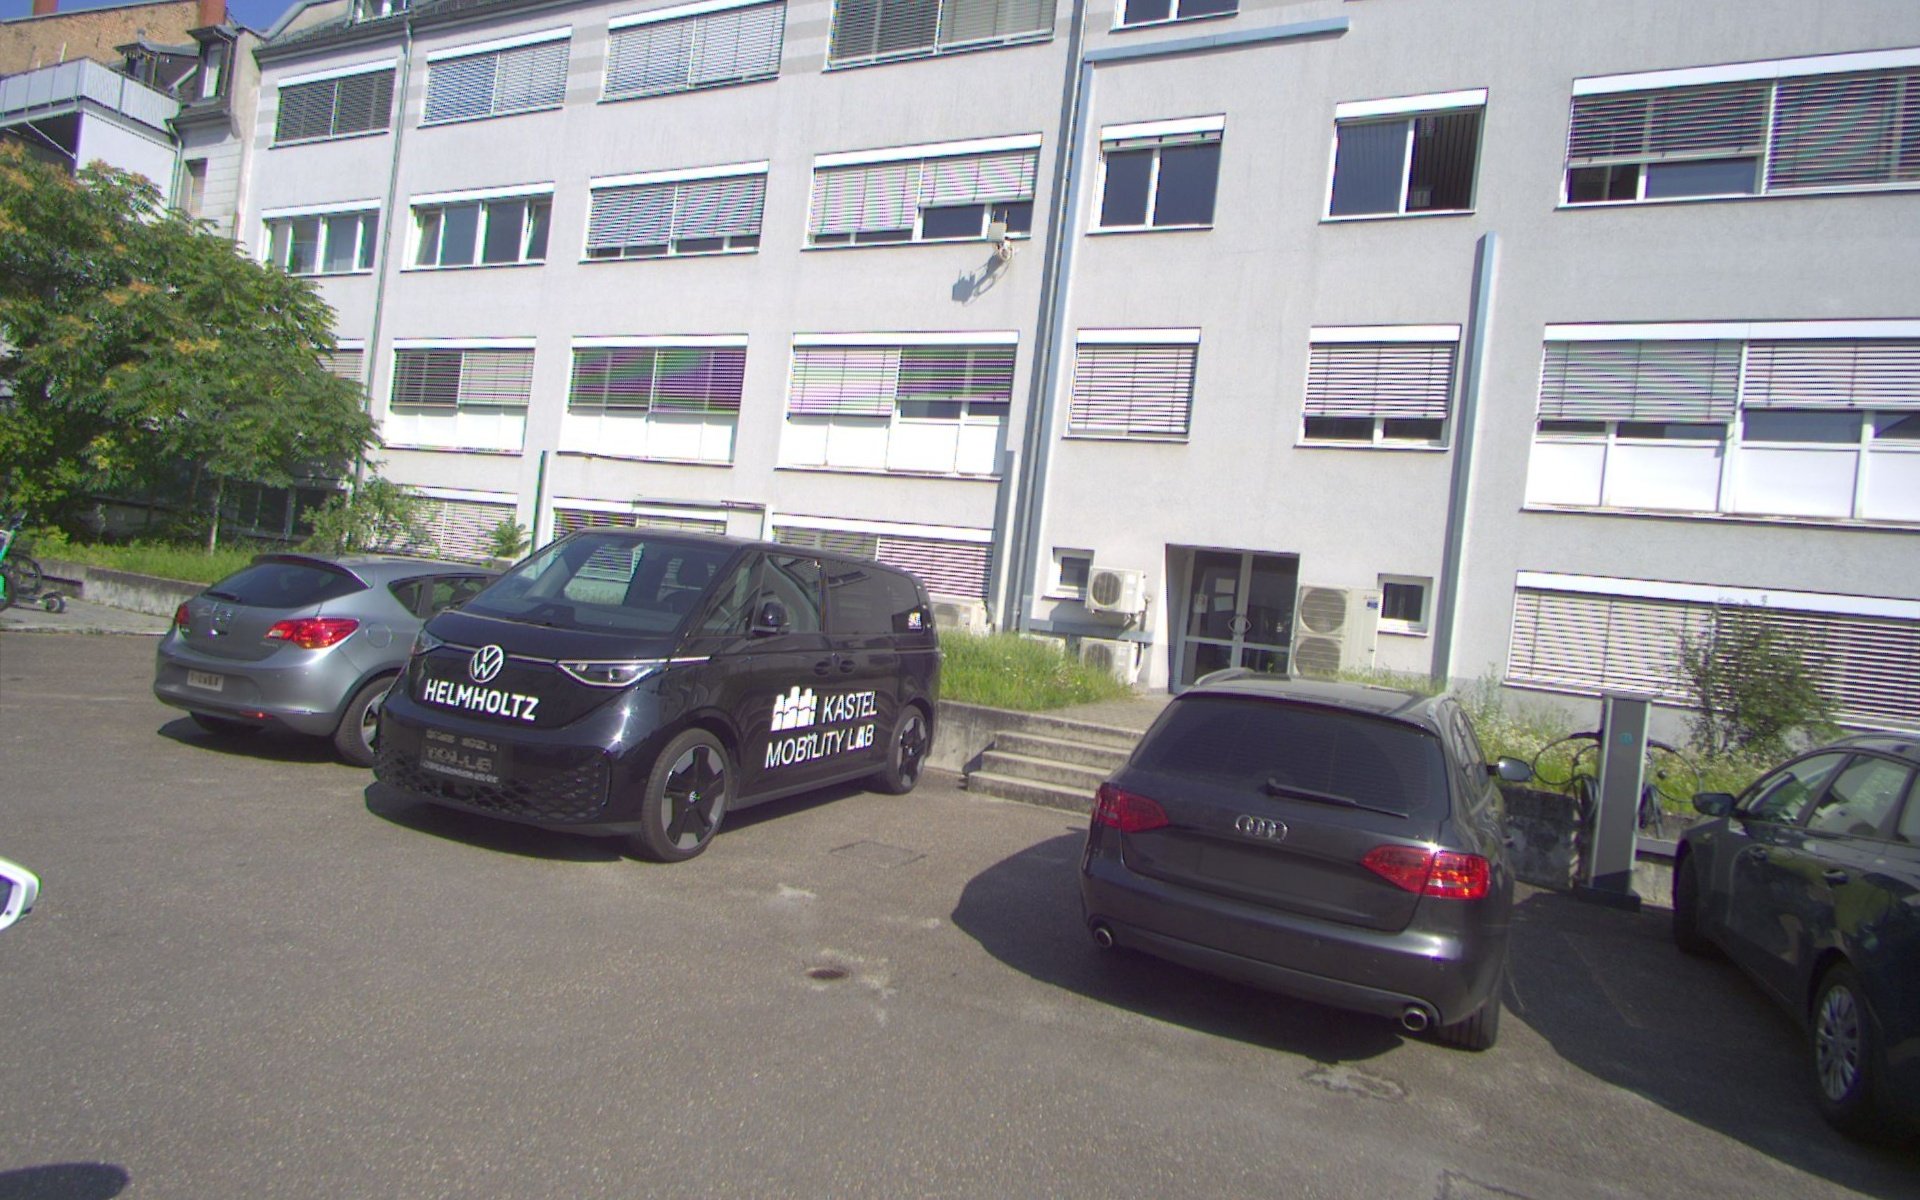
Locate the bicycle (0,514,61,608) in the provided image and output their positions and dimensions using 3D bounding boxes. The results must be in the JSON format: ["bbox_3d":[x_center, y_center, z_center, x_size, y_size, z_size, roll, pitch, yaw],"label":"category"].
[{"bbox_3d":[-14.027,-0.657,13.780,0.517,1.261,2.416,7,-2,30],"label":"bicycle"}]

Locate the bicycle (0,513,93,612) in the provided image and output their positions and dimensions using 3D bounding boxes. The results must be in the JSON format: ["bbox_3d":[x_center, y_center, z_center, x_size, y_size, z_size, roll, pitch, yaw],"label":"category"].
[{"bbox_3d":[-13.390,-0.592,13.582,0.517,1.261,2.416,7,-2,30],"label":"bicycle"}]

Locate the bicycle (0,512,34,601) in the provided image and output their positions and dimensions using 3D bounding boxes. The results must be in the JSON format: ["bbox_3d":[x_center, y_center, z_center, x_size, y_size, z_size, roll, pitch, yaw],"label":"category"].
[{"bbox_3d":[-14.735,-0.758,14.111,0.517,1.261,2.416,7,-2,30],"label":"bicycle"}]

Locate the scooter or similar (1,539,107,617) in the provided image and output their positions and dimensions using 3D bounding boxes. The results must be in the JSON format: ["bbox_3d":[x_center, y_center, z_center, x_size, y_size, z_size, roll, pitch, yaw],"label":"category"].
[{"bbox_3d":[-12.547,-0.297,13.945,0.982,0.935,0.360,7,-1,-7],"label":"scooter or similar"}]

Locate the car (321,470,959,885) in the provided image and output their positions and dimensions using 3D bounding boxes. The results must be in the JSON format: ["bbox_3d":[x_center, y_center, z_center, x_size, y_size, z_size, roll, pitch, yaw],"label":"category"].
[{"bbox_3d":[-1.752,0.457,7.183,1.879,1.881,4.349,7,-1,21],"label":"car"}]

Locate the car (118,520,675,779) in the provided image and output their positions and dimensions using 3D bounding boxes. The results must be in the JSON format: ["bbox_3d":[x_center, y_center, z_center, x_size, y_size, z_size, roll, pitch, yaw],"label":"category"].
[{"bbox_3d":[-4.271,0.395,8.425,1.631,1.483,3.911,7,-1,17],"label":"car"}]

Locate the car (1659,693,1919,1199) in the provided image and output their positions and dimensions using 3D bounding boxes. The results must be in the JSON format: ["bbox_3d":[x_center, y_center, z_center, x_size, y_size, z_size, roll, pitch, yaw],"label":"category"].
[{"bbox_3d":[4.571,1.301,4.394,1.711,1.496,4.057,7,-1,26],"label":"car"}]

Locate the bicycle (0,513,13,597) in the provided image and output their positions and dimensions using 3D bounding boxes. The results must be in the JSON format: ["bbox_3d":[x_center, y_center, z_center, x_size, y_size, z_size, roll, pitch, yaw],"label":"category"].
[{"bbox_3d":[-15.283,-0.808,14.371,0.517,1.261,2.416,7,-2,30],"label":"bicycle"}]

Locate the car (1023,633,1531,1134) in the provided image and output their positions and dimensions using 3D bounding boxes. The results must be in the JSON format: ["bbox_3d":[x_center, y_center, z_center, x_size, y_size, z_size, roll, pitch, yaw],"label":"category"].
[{"bbox_3d":[2.062,1.097,5.555,1.661,1.455,4.241,7,-1,29],"label":"car"}]

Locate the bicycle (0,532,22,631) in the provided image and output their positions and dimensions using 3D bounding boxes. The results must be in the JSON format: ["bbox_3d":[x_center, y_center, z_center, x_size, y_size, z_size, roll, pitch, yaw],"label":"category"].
[{"bbox_3d":[-12.254,-0.324,11.594,1.969,1.158,0.486,7,1,-26],"label":"bicycle"}]
